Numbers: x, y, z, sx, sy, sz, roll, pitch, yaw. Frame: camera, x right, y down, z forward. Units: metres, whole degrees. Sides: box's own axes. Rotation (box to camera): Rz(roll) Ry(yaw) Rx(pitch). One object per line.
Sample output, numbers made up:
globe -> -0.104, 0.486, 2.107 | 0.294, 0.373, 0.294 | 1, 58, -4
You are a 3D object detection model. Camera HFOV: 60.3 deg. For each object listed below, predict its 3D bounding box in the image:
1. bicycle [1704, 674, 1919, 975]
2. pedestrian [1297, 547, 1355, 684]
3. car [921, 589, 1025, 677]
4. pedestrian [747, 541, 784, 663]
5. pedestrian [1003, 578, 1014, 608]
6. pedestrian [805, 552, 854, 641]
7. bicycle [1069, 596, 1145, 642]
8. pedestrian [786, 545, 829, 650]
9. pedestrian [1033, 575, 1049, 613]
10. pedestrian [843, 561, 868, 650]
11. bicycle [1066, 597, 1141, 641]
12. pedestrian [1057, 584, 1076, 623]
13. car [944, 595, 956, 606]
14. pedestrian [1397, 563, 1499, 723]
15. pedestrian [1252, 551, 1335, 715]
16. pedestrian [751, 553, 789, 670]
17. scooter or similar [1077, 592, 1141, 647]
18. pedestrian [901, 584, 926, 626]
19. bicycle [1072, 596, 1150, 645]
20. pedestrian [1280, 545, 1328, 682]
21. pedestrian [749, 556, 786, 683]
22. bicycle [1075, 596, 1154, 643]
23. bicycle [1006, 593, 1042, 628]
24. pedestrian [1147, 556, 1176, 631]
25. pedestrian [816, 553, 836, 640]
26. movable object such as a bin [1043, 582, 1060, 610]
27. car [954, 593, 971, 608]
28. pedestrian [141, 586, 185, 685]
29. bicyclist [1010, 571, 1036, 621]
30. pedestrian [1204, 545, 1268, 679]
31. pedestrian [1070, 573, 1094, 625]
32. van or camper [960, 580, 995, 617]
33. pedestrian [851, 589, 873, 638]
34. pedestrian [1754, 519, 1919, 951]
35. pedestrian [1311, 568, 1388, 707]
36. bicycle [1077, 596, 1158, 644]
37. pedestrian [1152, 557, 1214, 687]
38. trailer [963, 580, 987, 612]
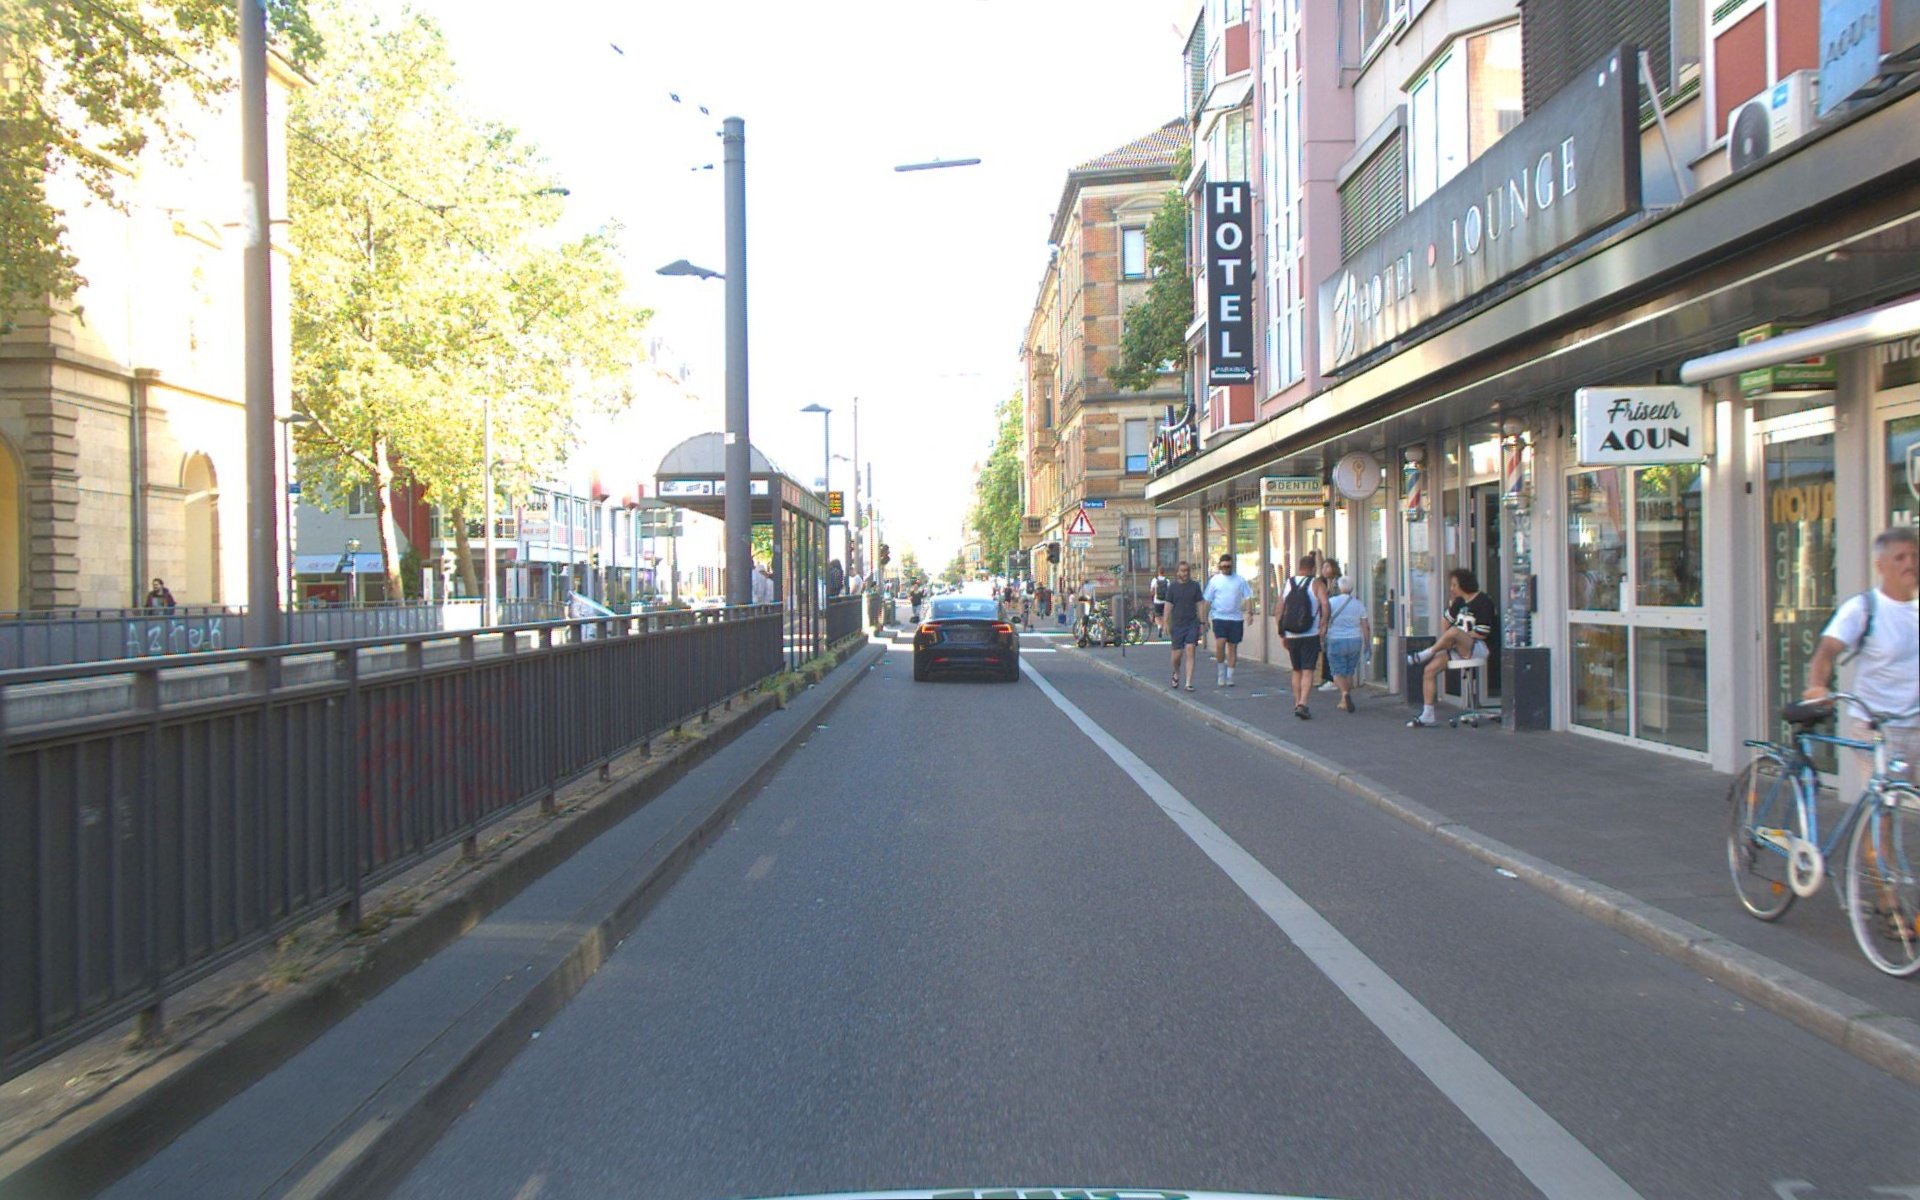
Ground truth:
bicycle -> 3.616, 0.856, 6.749 | 0.296, 1.007, 1.760 | -2, 0, -1
pedestrian -> 4.900, 0.204, 22.166 | 0.616, 1.800, 0.501 | -2, 0, 0
car -> 0.165, 0.529, 28.855 | 1.685, 1.430, 3.709 | 0, 0, -2
pedestrian -> -2.582, 0.030, 22.026 | 0.415, 1.601, 0.592 | 0, 0, -1
pedestrian -> 3.050, -0.447, 104.570 | 0.659, 1.846, 0.756 | -1, -1, -2
pedestrian -> -2.795, -0.072, 35.317 | 0.762, 1.863, 0.796 | 1, -1, -31
bicycle -> 3.822, 0.494, 43.091 | 1.906, 1.126, 0.564 | -1, 0, -3
pedestrian -> -2.649, -0.041, 28.731 | 0.675, 1.796, 0.747 | -1, 0, -2
pedestrian -> 3.735, -0.282, 75.969 | 0.461, 1.758, 0.585 | -1, 1, 35
pedestrian -> -2.543, 0.129, 40.339 | 0.527, 2.157, 0.807 | -1, 0, -1
bicycle -> 3.783, 0.495, 43.738 | 1.906, 1.126, 0.564 | -1, 0, -3
pedestrian -> 3.955, 0.138, 61.331 | 0.562, 1.439, 0.581 | 1, 0, 15
car -> -1.346, 0.082, 218.168 | 1.561, 1.458, 3.686 | -1, 0, 0
pedestrian -> 4.815, 0.413, 16.357 | 0.723, 1.497, 0.707 | -3, 0, 0
pedestrian -> 3.679, 0.355, 18.274 | 0.729, 1.757, 0.814 | 1, 0, 0
pedestrian -> -2.635, 0.155, 22.935 | 0.314, 1.600, 0.543 | 0, 0, 19
scooter or similar -> 3.632, 0.470, 40.403 | 1.448, 1.250, 0.591 | -3, 0, -1
pedestrian -> -1.762, 0.187, 63.324 | 0.824, 1.576, 0.700 | -1, 0, 8
bicycle -> 3.860, 0.518, 42.331 | 1.906, 1.186, 0.627 | -1, 0, -3
pedestrian -> 4.837, 0.179, 23.273 | 0.442, 1.881, 0.812 | -2, 0, 0
pedestrian -> -2.446, 0.244, 21.065 | 0.415, 1.601, 0.447 | 0, 0, -1
bicycle -> 3.886, 0.489, 41.677 | 1.906, 1.126, 0.564 | -1, 0, -3
bicycle -> 2.189, 0.342, 56.635 | 0.636, 1.159, 2.087 | 0, 0, -15
pedestrian -> 5.603, -0.173, 45.974 | 0.700, 2.020, 0.944 | 0, -3, 12
pedestrian -> -2.634, -0.071, 32.472 | 0.344, 1.698, 0.529 | -1, 0, -2
movable object such as a bin -> 4.691, -0.199, 84.678 | 0.760, 1.371, 1.299 | -1, 0, -2
car -> 0.235, 0.096, 167.779 | 1.676, 1.482, 4.549 | 0, 0, -1
pedestrian -> -16.692, 0.733, 34.630 | 0.683, 2.049, 0.693 | 0, 0, -41
bicyclist -> 2.164, -0.127, 56.669 | 0.644, 1.684, 0.924 | 0, 0, -15
pedestrian -> 3.958, 0.167, 23.766 | 0.691, 1.851, 0.763 | -3, 0, -1
pedestrian -> 4.374, -0.043, 59.152 | 0.829, 1.839, 0.876 | -1, 1, 4
van or camper -> 0.996, -0.051, 96.757 | 1.892, 2.072, 5.474 | 1, -1, -1
pedestrian -> -2.759, 0.381, 46.613 | 0.470, 1.352, 0.354 | -1, 0, 29
pedestrian -> 3.780, 0.509, 6.764 | 0.649, 1.659, 0.705 | -3, 0, -2
pedestrian -> 4.421, 0.418, 18.798 | 0.623, 1.509, 0.654 | -3, 0, -2
bicycle -> 3.906, 0.485, 41.064 | 1.906, 1.126, 0.564 | -1, 0, -3
pedestrian -> 3.131, 0.306, 23.286 | 0.654, 1.758, 0.810 | -3, 0, -2
trailer -> 1.061, -0.248, 114.155 | 1.626, 2.154, 3.843 | 1, 0, 1
